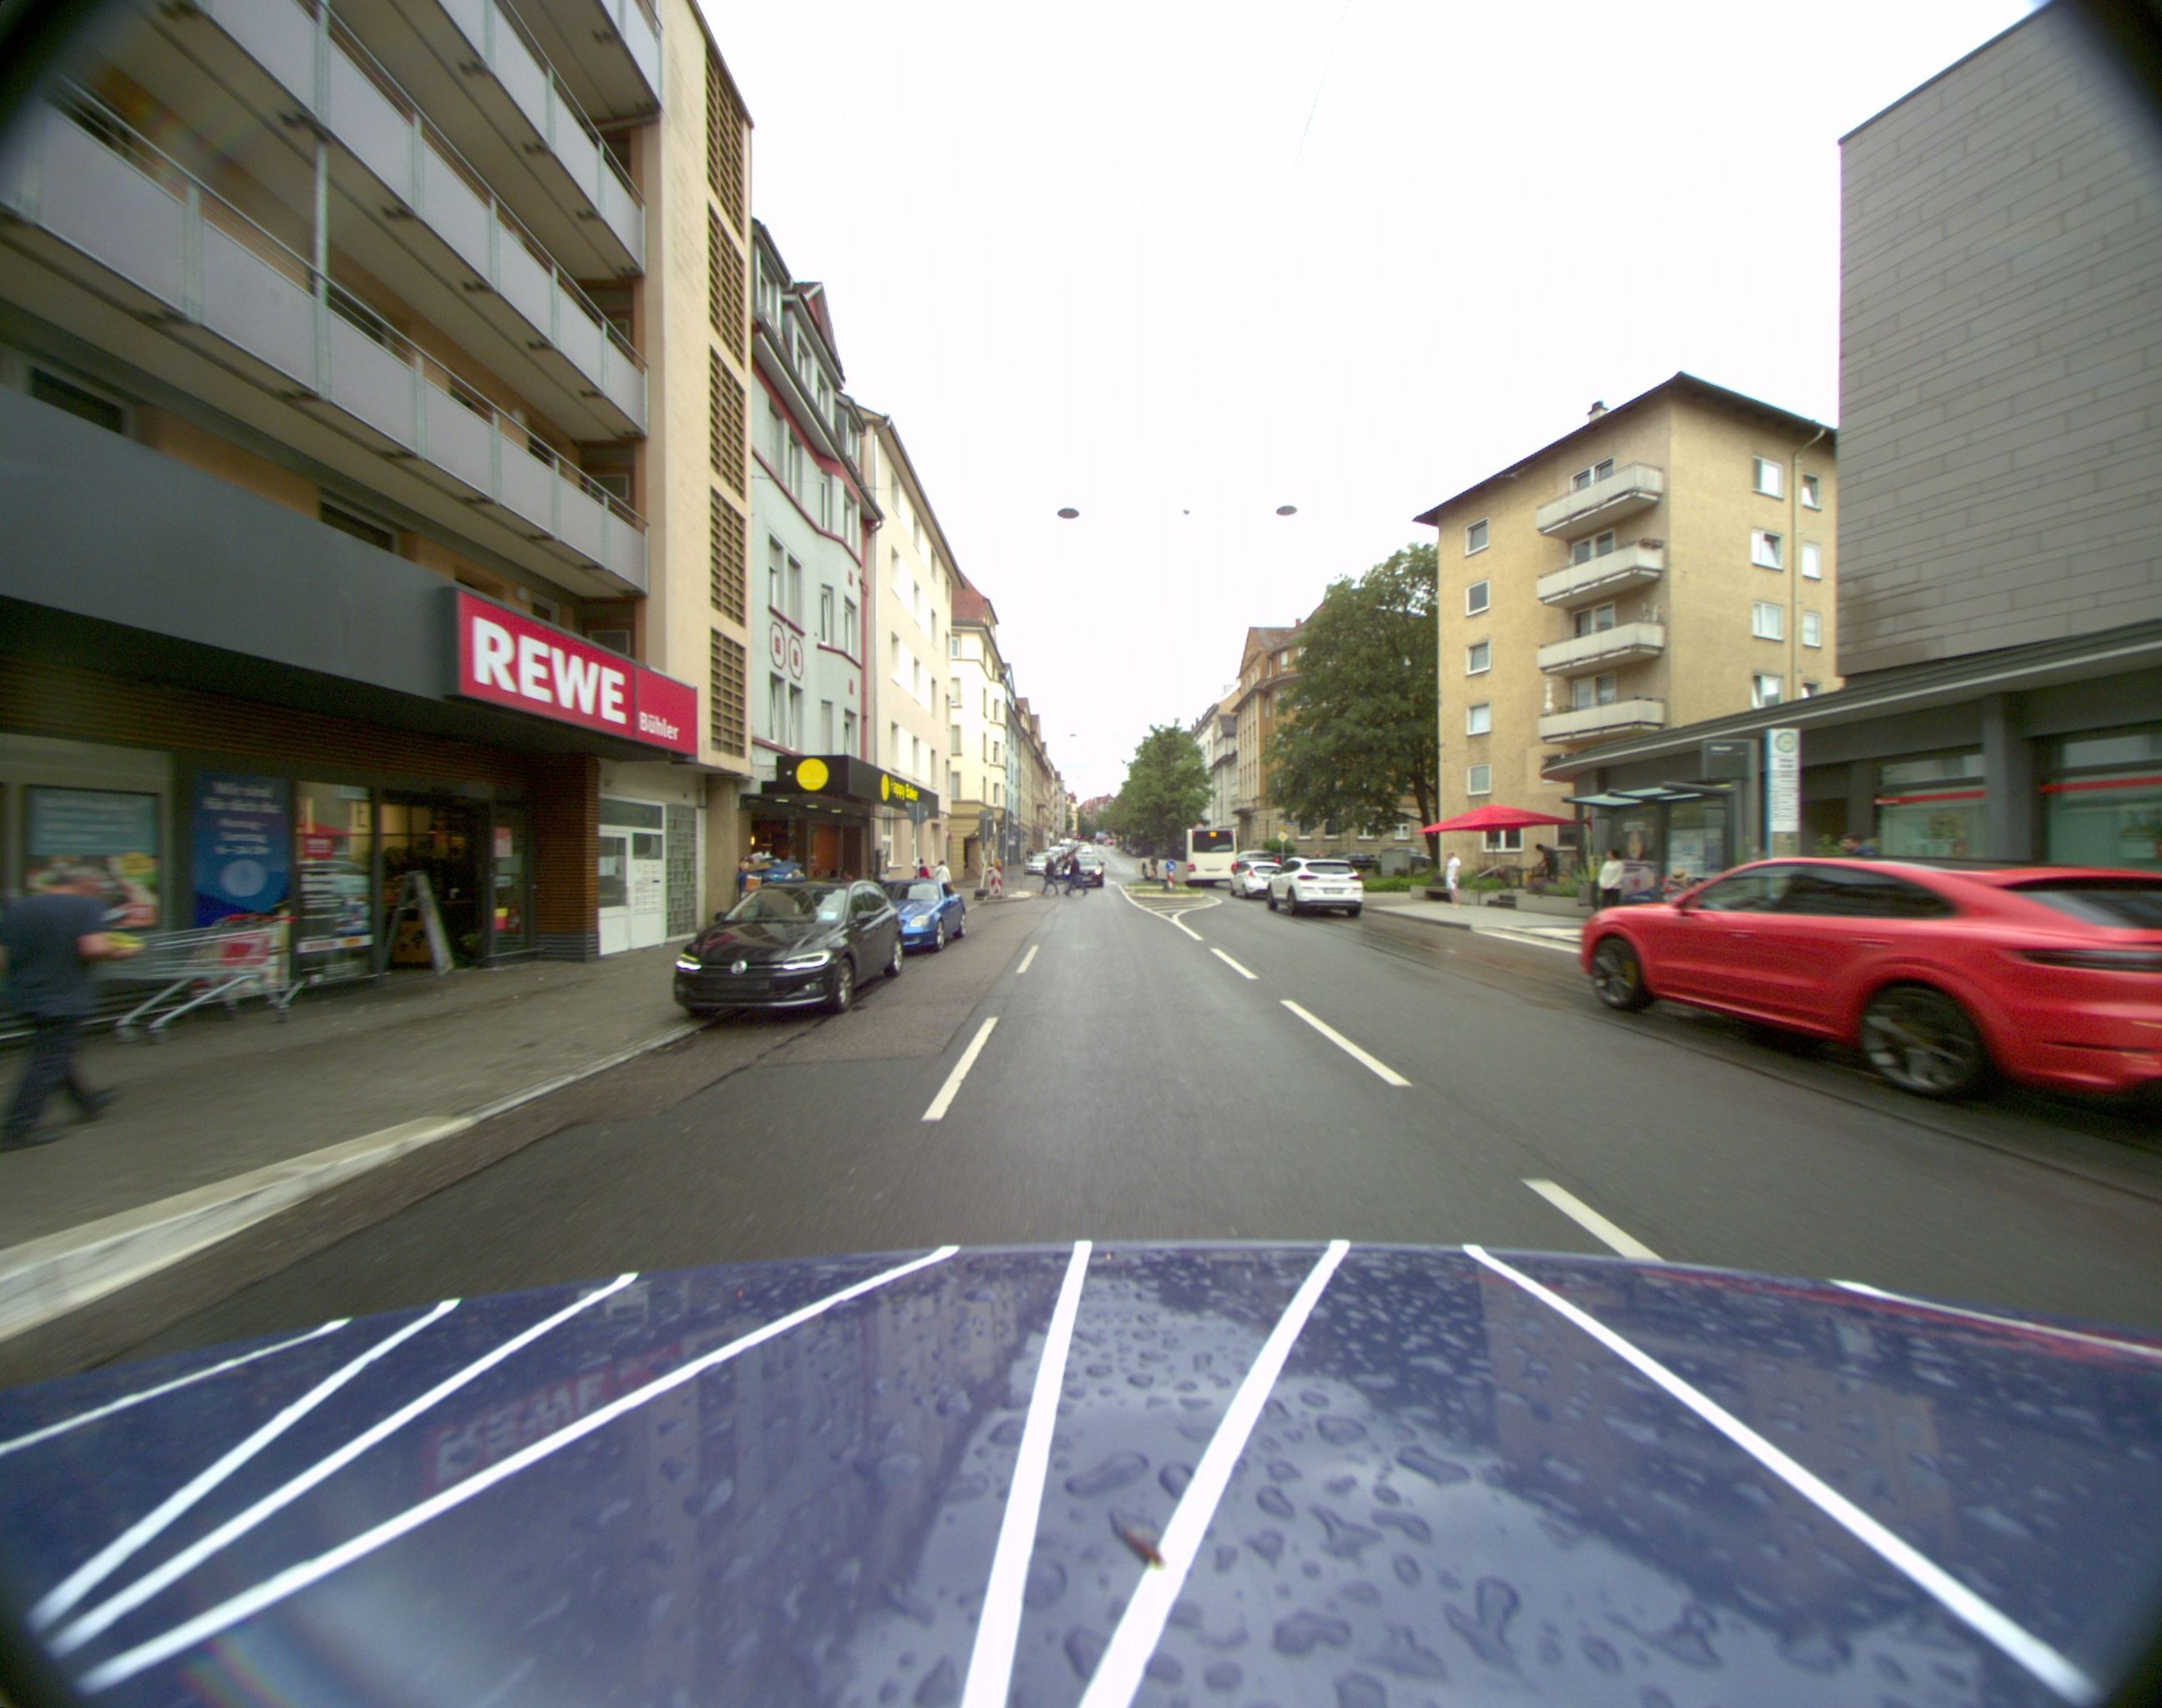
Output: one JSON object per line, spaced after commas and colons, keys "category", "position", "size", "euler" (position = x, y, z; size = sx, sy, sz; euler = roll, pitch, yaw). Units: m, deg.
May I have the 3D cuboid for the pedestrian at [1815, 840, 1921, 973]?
{"category": "pedestrian", "position": [11.202, 0.717, 10.842], "size": [0.591, 1.809, 0.870], "euler": [-1, 1, -8]}

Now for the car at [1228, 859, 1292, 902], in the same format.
{"category": "car", "position": [6.998, 0.999, 30.023], "size": [1.619, 1.455, 3.806], "euler": [2, 1, 0]}

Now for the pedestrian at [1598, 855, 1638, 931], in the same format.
{"category": "pedestrian", "position": [11.036, 0.786, 15.626], "size": [0.438, 1.540, 0.533], "euler": [-1, 1, 0]}

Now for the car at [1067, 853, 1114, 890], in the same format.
{"category": "car", "position": [0.409, 0.819, 37.686], "size": [1.857, 1.646, 4.202], "euler": [-1, 1, -5]}

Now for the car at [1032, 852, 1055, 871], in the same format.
{"category": "car", "position": [-3.265, 0.624, 66.541], "size": [1.817, 1.583, 3.893], "euler": [-1, 1, -1]}

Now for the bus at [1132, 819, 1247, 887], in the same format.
{"category": "bus", "position": [5.814, -0.181, 43.614], "size": [2.815, 3.228, 11.948], "euler": [3, 1, -10]}

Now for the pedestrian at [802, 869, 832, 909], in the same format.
{"category": "pedestrian", "position": [-8.544, 1.117, 24.647], "size": [0.703, 1.250, 0.658], "euler": [2, 0, 1]}

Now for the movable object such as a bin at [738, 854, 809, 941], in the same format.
{"category": "movable object such as a bin", "position": [-6.593, 0.899, 16.353], "size": [1.002, 1.783, 1.296], "euler": [0, 1, -1]}

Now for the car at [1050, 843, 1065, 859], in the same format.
{"category": "car", "position": [-2.864, -0.344, 94.073], "size": [1.733, 1.887, 3.550], "euler": [-1, 1, -1]}

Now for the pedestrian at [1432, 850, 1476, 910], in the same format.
{"category": "pedestrian", "position": [10.850, 0.746, 22.110], "size": [0.793, 1.699, 0.761], "euler": [-3, 1, -24]}

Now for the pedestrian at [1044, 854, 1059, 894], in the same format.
{"category": "pedestrian", "position": [-1.285, 0.881, 33.374], "size": [0.611, 1.738, 0.698], "euler": [1, 1, 1]}

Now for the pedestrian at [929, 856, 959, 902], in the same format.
{"category": "pedestrian", "position": [-5.020, 0.923, 27.829], "size": [0.701, 1.637, 0.785], "euler": [2, 1, 35]}

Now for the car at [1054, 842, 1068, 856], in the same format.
{"category": "car", "position": [-2.576, -0.688, 100.200], "size": [1.719, 1.871, 3.907], "euler": [-1, 1, -1]}

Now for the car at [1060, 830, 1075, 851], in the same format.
{"category": "car", "position": [-2.359, -2.351, 136.161], "size": [2.554, 3.612, 9.048], "euler": [-1, 1, 0]}

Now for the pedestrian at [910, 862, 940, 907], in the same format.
{"category": "pedestrian", "position": [-5.774, 1.118, 28.100], "size": [0.701, 1.637, 0.785], "euler": [2, 1, 35]}

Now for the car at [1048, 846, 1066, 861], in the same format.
{"category": "car", "position": [-2.386, -0.042, 77.420], "size": [1.733, 1.486, 3.550], "euler": [-1, 1, -1]}

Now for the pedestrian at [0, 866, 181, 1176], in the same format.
{"category": "pedestrian", "position": [-6.011, 0.904, 4.393], "size": [0.627, 1.641, 0.749], "euler": [0, -3, 3]}

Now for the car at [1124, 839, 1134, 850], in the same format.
{"category": "car", "position": [8.771, -1.749, 139.748], "size": [1.640, 1.871, 3.658], "euler": [-1, 1, -1]}

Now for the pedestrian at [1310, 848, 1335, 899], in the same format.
{"category": "pedestrian", "position": [9.520, 0.752, 30.015], "size": [0.703, 2.002, 0.782], "euler": [-1, 1, -3]}

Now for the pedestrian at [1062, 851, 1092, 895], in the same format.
{"category": "pedestrian", "position": [-0.161, 0.777, 31.550], "size": [1.062, 1.738, 0.855], "euler": [-2, 0, 11]}

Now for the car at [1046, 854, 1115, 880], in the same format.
{"category": "car", "position": [-0.071, 0.766, 45.571], "size": [3.998, 1.412, 1.811], "euler": [-1, 0, -3]}

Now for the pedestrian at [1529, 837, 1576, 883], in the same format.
{"category": "pedestrian", "position": [17.273, 0.230, 27.849], "size": [1.153, 1.602, 0.940], "euler": [-3, 0, -25]}

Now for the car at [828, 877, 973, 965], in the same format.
{"category": "car", "position": [-3.355, 1.205, 14.900], "size": [1.738, 1.302, 3.767], "euler": [-3, 0, 2]}

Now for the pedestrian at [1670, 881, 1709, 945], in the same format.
{"category": "pedestrian", "position": [10.839, 1.049, 13.538], "size": [0.392, 1.110, 0.386], "euler": [-1, 1, 0]}

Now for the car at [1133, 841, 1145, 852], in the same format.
{"category": "car", "position": [8.665, -1.129, 113.935], "size": [1.558, 1.507, 3.393], "euler": [-3, 1, 0]}

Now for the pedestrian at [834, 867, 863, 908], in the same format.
{"category": "pedestrian", "position": [-7.368, 1.059, 24.096], "size": [0.703, 1.250, 0.658], "euler": [2, 0, 1]}

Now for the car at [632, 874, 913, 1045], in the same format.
{"category": "car", "position": [-3.432, 1.075, 9.353], "size": [1.734, 1.538, 3.982], "euler": [-2, -1, 1]}

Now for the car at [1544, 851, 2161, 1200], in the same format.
{"category": "car", "position": [6.534, 0.894, 6.439], "size": [2.111, 1.754, 5.059], "euler": [1, 1, 0]}

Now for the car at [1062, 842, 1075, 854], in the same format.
{"category": "car", "position": [-2.017, -0.928, 121.260], "size": [1.999, 1.871, 3.999], "euler": [-1, 1, -1]}

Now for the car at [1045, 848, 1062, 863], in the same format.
{"category": "car", "position": [-2.972, 0.132, 83.710], "size": [1.733, 1.486, 3.550], "euler": [-1, 1, -1]}

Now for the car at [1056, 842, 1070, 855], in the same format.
{"category": "car", "position": [-2.623, -0.804, 112.135], "size": [1.999, 1.871, 3.999], "euler": [-1, 1, -1]}

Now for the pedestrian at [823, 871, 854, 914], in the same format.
{"category": "pedestrian", "position": [-7.330, 1.153, 22.997], "size": [0.624, 1.250, 0.659], "euler": [2, 0, 8]}

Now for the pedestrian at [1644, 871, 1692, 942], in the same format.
{"category": "pedestrian", "position": [10.834, 0.954, 14.032], "size": [0.469, 1.269, 0.549], "euler": [-1, 1, 0]}

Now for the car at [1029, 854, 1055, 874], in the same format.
{"category": "car", "position": [-3.072, 0.792, 60.374], "size": [1.856, 1.456, 4.203], "euler": [-1, 1, -1]}

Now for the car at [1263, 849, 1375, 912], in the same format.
{"category": "car", "position": [6.676, 0.685, 21.841], "size": [1.900, 1.564, 4.124], "euler": [2, 1, 0]}

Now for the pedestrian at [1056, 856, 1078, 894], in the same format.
{"category": "pedestrian", "position": [-0.608, 0.912, 34.003], "size": [0.791, 1.656, 0.699], "euler": [1, 1, 16]}

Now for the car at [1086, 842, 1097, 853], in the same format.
{"category": "car", "position": [1.728, -1.134, 125.954], "size": [1.796, 1.768, 3.902], "euler": [-1, 1, -1]}
